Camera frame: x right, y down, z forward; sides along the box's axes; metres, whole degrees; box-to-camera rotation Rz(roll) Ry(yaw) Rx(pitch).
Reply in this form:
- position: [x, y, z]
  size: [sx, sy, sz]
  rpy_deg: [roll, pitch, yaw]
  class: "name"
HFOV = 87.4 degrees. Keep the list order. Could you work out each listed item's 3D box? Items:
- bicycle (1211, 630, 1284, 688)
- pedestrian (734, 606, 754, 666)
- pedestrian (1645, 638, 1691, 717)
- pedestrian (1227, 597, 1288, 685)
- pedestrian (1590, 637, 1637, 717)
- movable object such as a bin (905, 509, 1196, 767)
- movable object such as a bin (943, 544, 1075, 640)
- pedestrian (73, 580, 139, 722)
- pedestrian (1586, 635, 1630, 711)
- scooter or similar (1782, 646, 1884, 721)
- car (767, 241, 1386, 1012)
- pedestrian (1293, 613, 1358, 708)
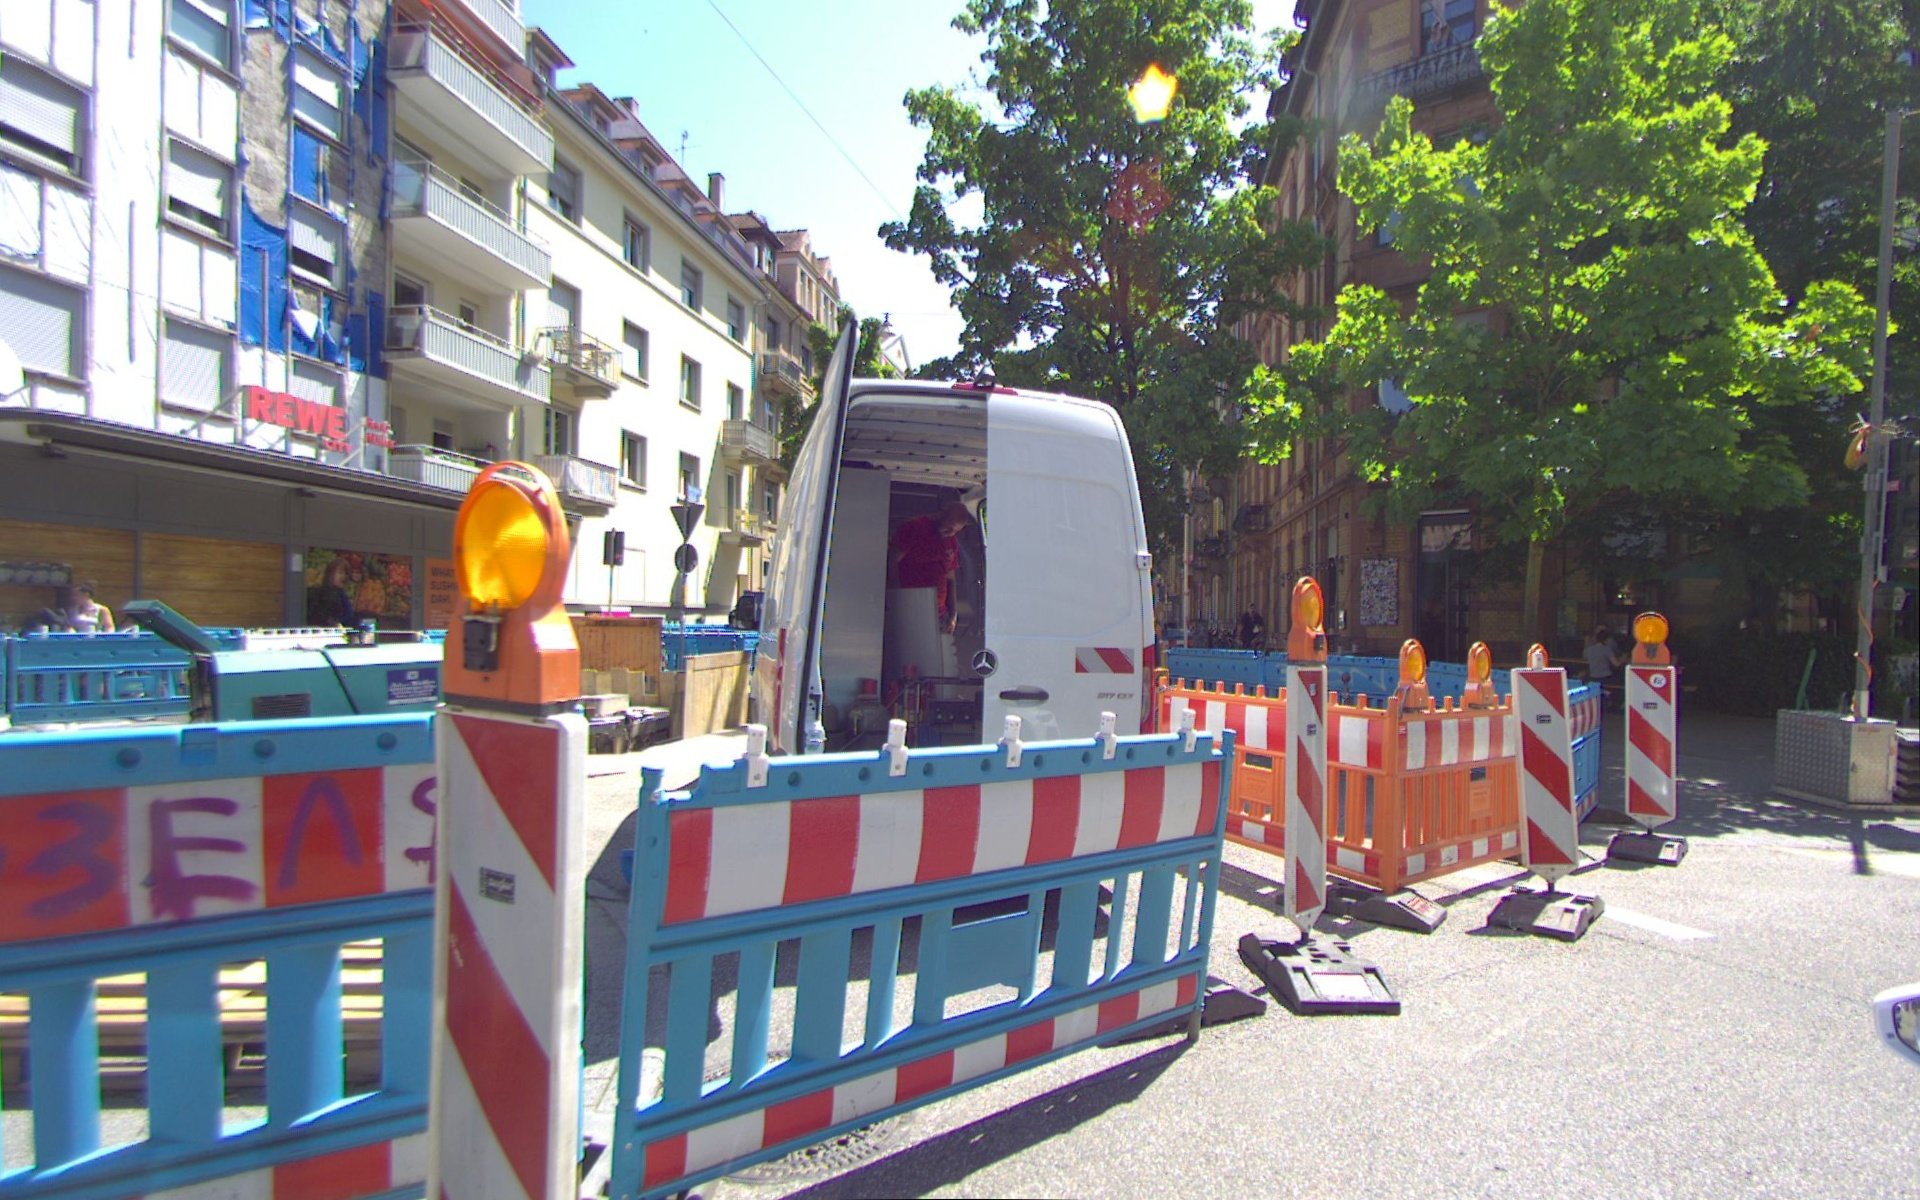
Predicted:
- position: [6.166, 1.245, 21.677]
  size: [0.591, 1.101, 2.284]
  rpy_deg: [1, 0, -9]
  class: "bicycle"
- position: [-7.377, 1.225, 34.364]
  size: [0.534, 2.040, 0.413]
  rpy_deg: [1, -1, 10]
  class: "pedestrian"
- position: [11.429, 1.233, 16.209]
  size: [0.549, 1.236, 0.595]
  rpy_deg: [0, -1, 41]
  class: "pedestrian"
- position: [6.368, 0.865, 21.546]
  size: [0.849, 1.814, 1.006]
  rpy_deg: [1, 1, -8]
  class: "pedestrian"
- position: [10.508, 1.226, 16.142]
  size: [0.549, 1.236, 0.595]
  rpy_deg: [0, -1, 41]
  class: "pedestrian"
- position: [0.919, 0.430, 12.979]
  size: [1.926, 2.694, 4.536]
  rpy_deg: [0, -1, -21]
  class: "movable object such as a bin"
- position: [2.004, -0.247, 37.638]
  size: [3.250, 3.255, 6.750]
  rpy_deg: [1, 0, 18]
  class: "movable object such as a bin"
- position: [-10.696, 0.622, 12.579]
  size: [0.579, 1.738, 0.390]
  rpy_deg: [0, -1, 24]
  class: "pedestrian"
- position: [11.000, 1.227, 17.047]
  size: [0.549, 1.236, 0.595]
  rpy_deg: [0, -1, 41]
  class: "pedestrian"
- position: [13.683, 1.307, 15.745]
  size: [1.442, 1.136, 0.278]
  rpy_deg: [1, 2, -7]
  class: "scooter or similar"
- position: [-0.084, 0.203, 7.132]
  size: [2.338, 2.787, 6.629]
  rpy_deg: [2, -2, -12]
  class: "car"
- position: [6.860, 1.116, 18.868]
  size: [0.916, 1.727, 0.636]
  rpy_deg: [1, 1, -19]
  class: "pedestrian"
